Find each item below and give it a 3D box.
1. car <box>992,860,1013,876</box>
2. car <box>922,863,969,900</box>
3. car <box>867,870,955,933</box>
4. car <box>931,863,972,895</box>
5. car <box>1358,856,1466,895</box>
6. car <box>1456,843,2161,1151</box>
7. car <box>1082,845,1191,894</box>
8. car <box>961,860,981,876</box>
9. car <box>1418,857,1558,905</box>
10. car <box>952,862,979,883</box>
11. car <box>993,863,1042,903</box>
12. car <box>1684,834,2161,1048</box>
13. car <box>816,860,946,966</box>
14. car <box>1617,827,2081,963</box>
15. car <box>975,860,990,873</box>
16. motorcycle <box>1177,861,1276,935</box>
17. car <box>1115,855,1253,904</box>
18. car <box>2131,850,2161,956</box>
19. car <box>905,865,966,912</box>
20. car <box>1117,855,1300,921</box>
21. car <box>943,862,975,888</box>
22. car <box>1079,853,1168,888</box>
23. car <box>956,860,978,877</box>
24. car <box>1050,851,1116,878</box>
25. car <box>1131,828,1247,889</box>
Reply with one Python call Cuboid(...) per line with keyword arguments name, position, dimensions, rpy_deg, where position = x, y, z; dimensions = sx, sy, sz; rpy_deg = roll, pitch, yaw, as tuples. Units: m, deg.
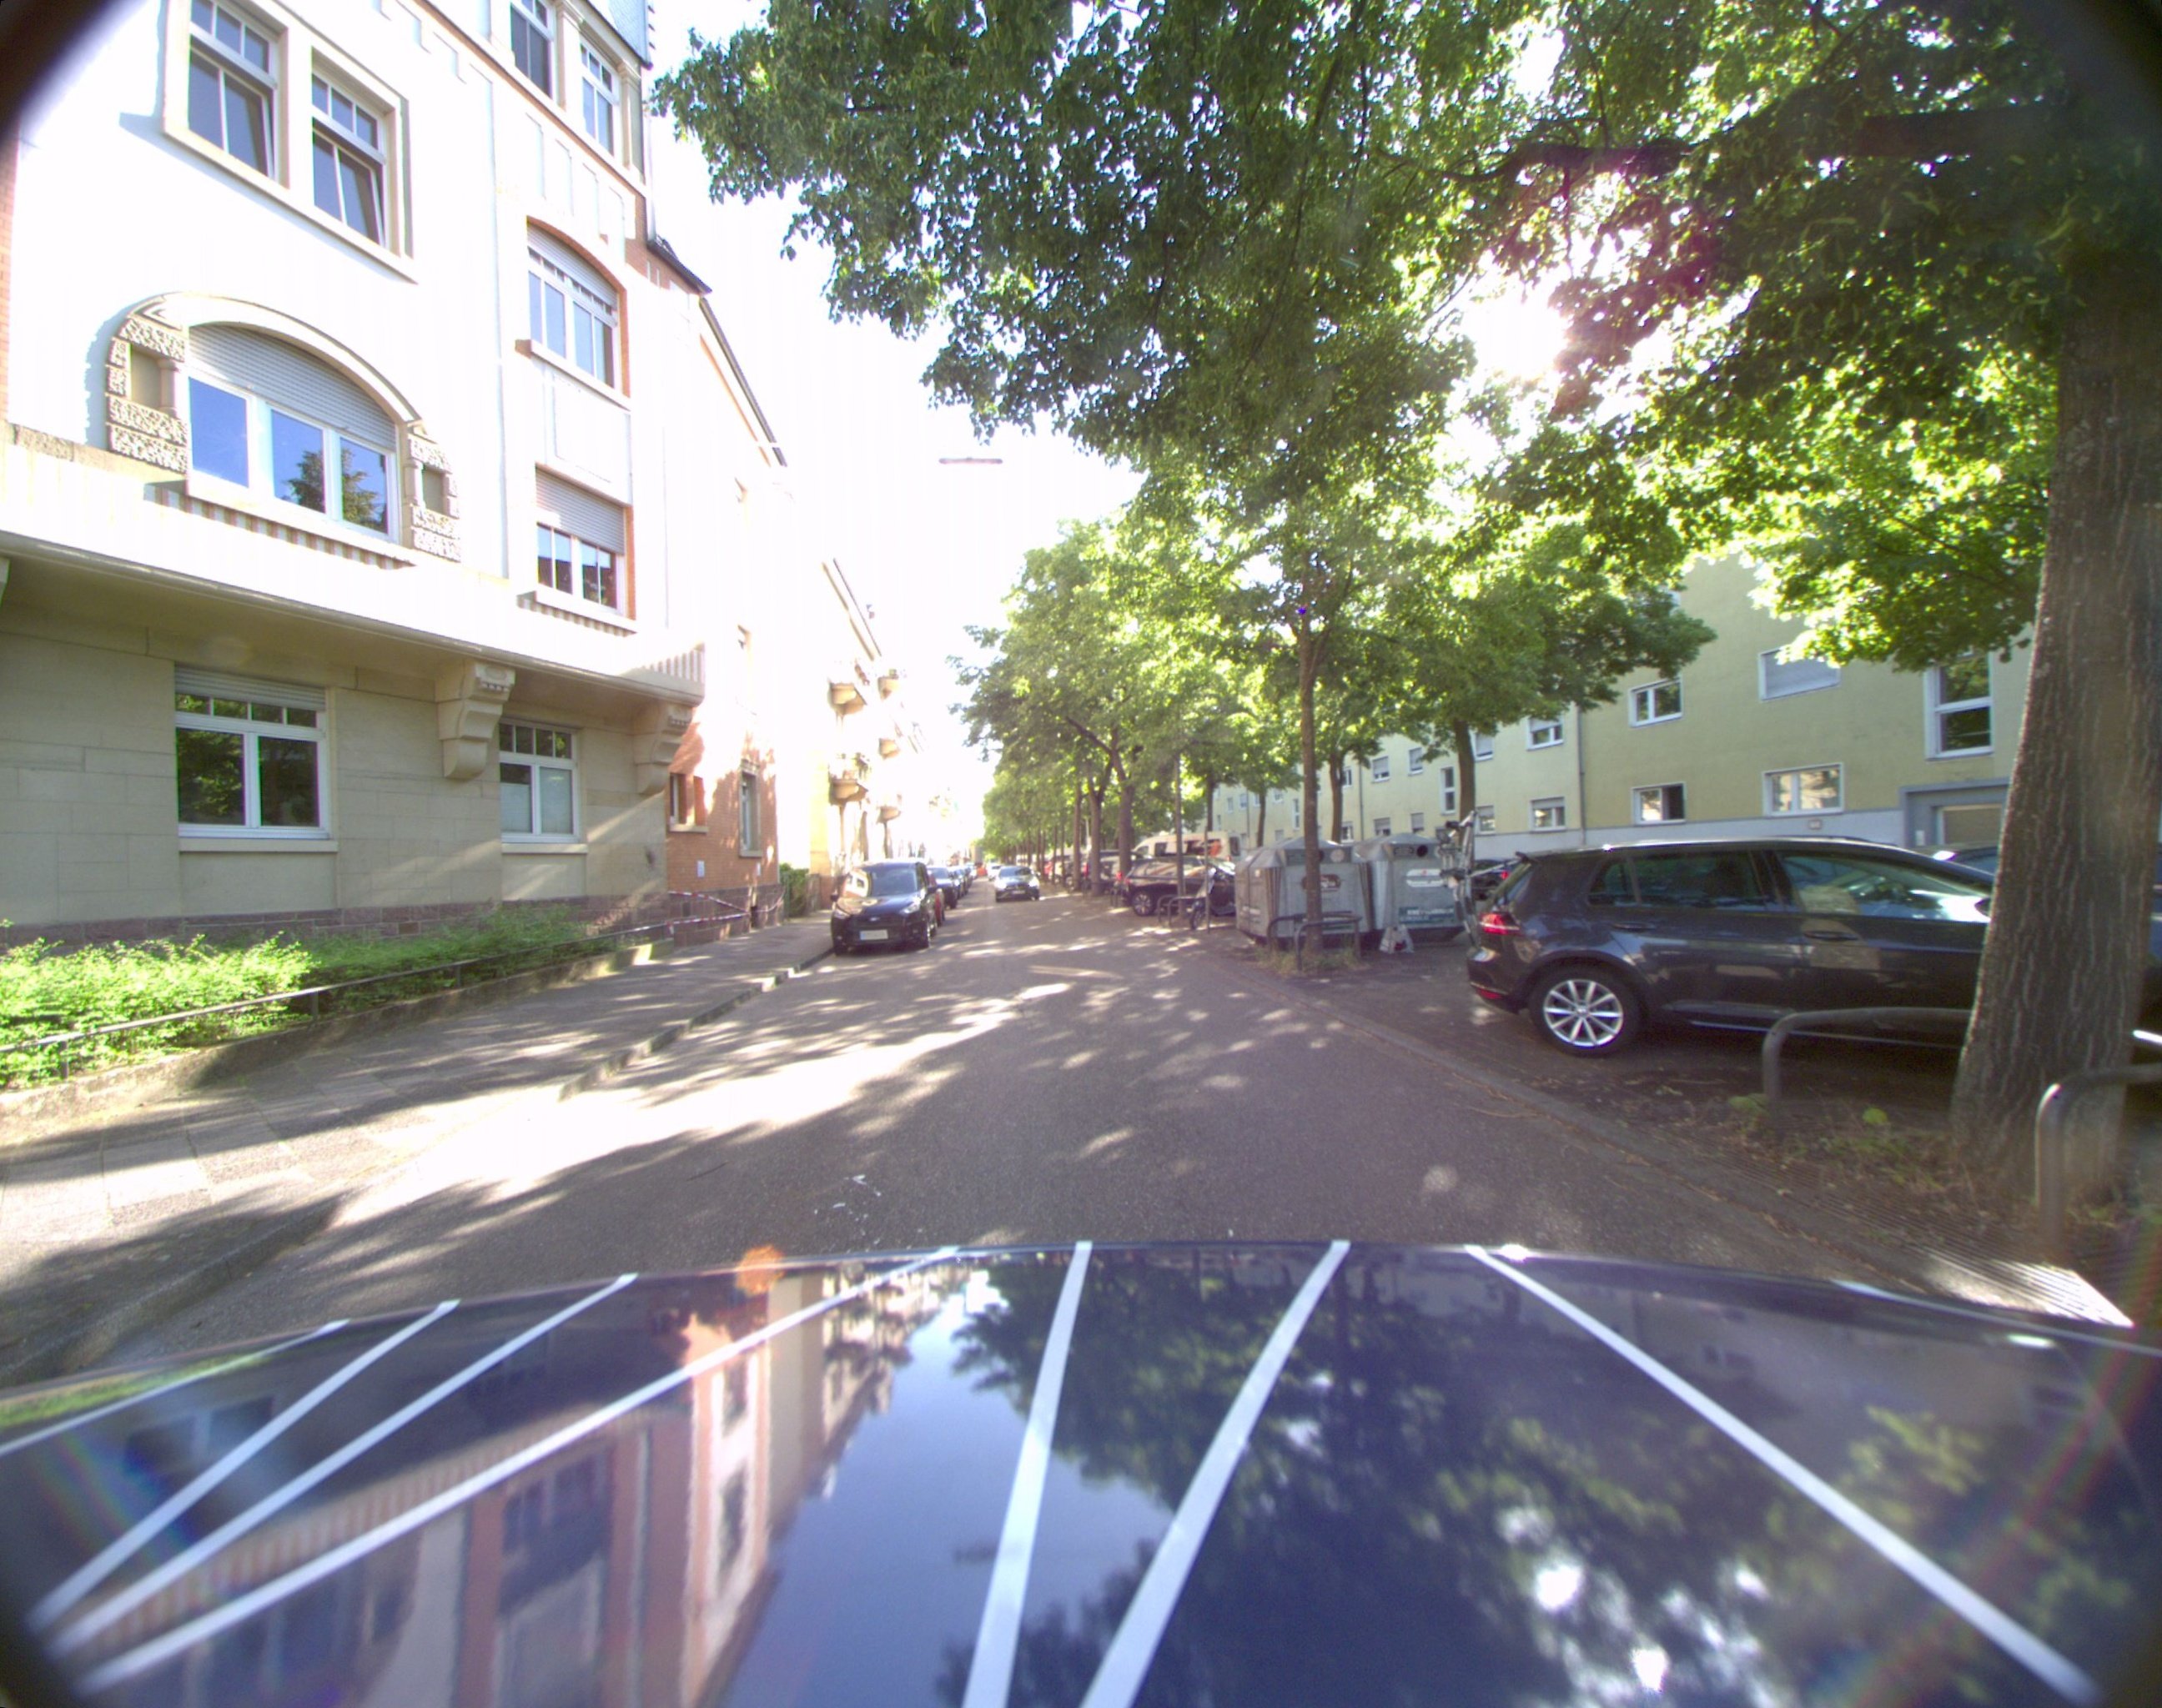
Cuboid(name="car", position=(-7.323, 1.296, 71.128), dimensions=(1.798, 1.426, 4.207), rpy_deg=(-3, 0, -5))
Cuboid(name="car", position=(-6.500, 1.282, 36.897), dimensions=(1.797, 1.547, 4.207), rpy_deg=(-4, 0, -5))
Cuboid(name="car", position=(-4.699, 1.268, 21.616), dimensions=(1.797, 1.445, 4.207), rpy_deg=(-4, 0, -5))
Cuboid(name="car", position=(-7.130, 1.345, 42.178), dimensions=(1.797, 1.547, 4.207), rpy_deg=(-4, 0, -5))
Cuboid(name="car", position=(13.191, 0.826, 30.638), dimensions=(2.043, 1.430, 4.385), rpy_deg=(-1, 0, -7))
Cuboid(name="car", position=(4.779, 0.709, 4.930), dimensions=(3.989, 1.464, 1.763), rpy_deg=(-2, 0, 33))
Cuboid(name="car", position=(2.250, 0.640, 31.082), dimensions=(3.989, 1.887, 1.827), rpy_deg=(-2, 0, 31))
Cuboid(name="car", position=(-11.822, 1.476, 81.595), dimensions=(1.797, 1.547, 4.207), rpy_deg=(-4, 0, -5))
Cuboid(name="car", position=(13.722, 0.863, 25.954), dimensions=(2.043, 1.430, 4.385), rpy_deg=(-1, 0, -7))
Cuboid(name="car", position=(-9.365, 1.472, 61.691), dimensions=(1.797, 1.547, 4.207), rpy_deg=(-4, 0, -5))
Cuboid(name="car", position=(-2.654, 1.163, 31.841), dimensions=(1.797, 1.426, 4.207), rpy_deg=(-4, 0, -5))
Cuboid(name="car", position=(7.540, 0.603, 6.138), dimensions=(3.989, 1.464, 1.763), rpy_deg=(-2, 0, 32))
Cuboid(name="car", position=(-3.936, 1.077, 15.687), dimensions=(1.797, 1.756, 4.207), rpy_deg=(-4, 0, -5))
Cuboid(name="car", position=(9.389, 0.485, 9.565), dimensions=(3.997, 1.464, 1.760), rpy_deg=(-1, 0, 1))
Cuboid(name="car", position=(-13.703, 1.739, 106.087), dimensions=(1.797, 1.547, 4.207), rpy_deg=(-4, 0, -5))
Cuboid(name="motorcycle", position=(2.891, 0.845, 15.064), dimensions=(1.802, 1.340, 0.727), rpy_deg=(-1, 0, -25))
Cuboid(name="car", position=(3.307, 0.813, 24.634), dimensions=(3.989, 1.444, 1.827), rpy_deg=(-2, 0, 31))
Cuboid(name="car", position=(15.780, 0.632, 8.532), dimensions=(1.735, 1.430, 4.385), rpy_deg=(-1, 0, -7))
Cuboid(name="car", position=(-5.591, 1.284, 29.562), dimensions=(1.797, 1.547, 4.207), rpy_deg=(-4, 0, -5))
Cuboid(name="car", position=(3.085, 0.800, 18.564), dimensions=(3.989, 1.432, 1.827), rpy_deg=(-2, 0, 31))
Cuboid(name="car", position=(-8.252, 1.392, 51.658), dimensions=(1.797, 1.547, 4.207), rpy_deg=(-4, 0, -5))
Cuboid(name="car", position=(2.100, 0.821, 37.601), dimensions=(3.989, 1.624, 1.827), rpy_deg=(-2, 0, 31))
Cuboid(name="car", position=(-11.482, 1.409, 76.623), dimensions=(1.797, 1.547, 4.207), rpy_deg=(-4, 0, -5))
Cuboid(name="car", position=(0.128, 0.685, 50.792), dimensions=(3.992, 1.677, 1.826), rpy_deg=(-2, 0, 18))
Cuboid(name="car", position=(4.743, 0.228, 33.457), dimensions=(4.583, 2.476, 1.990), rpy_deg=(-2, 0, 27))
